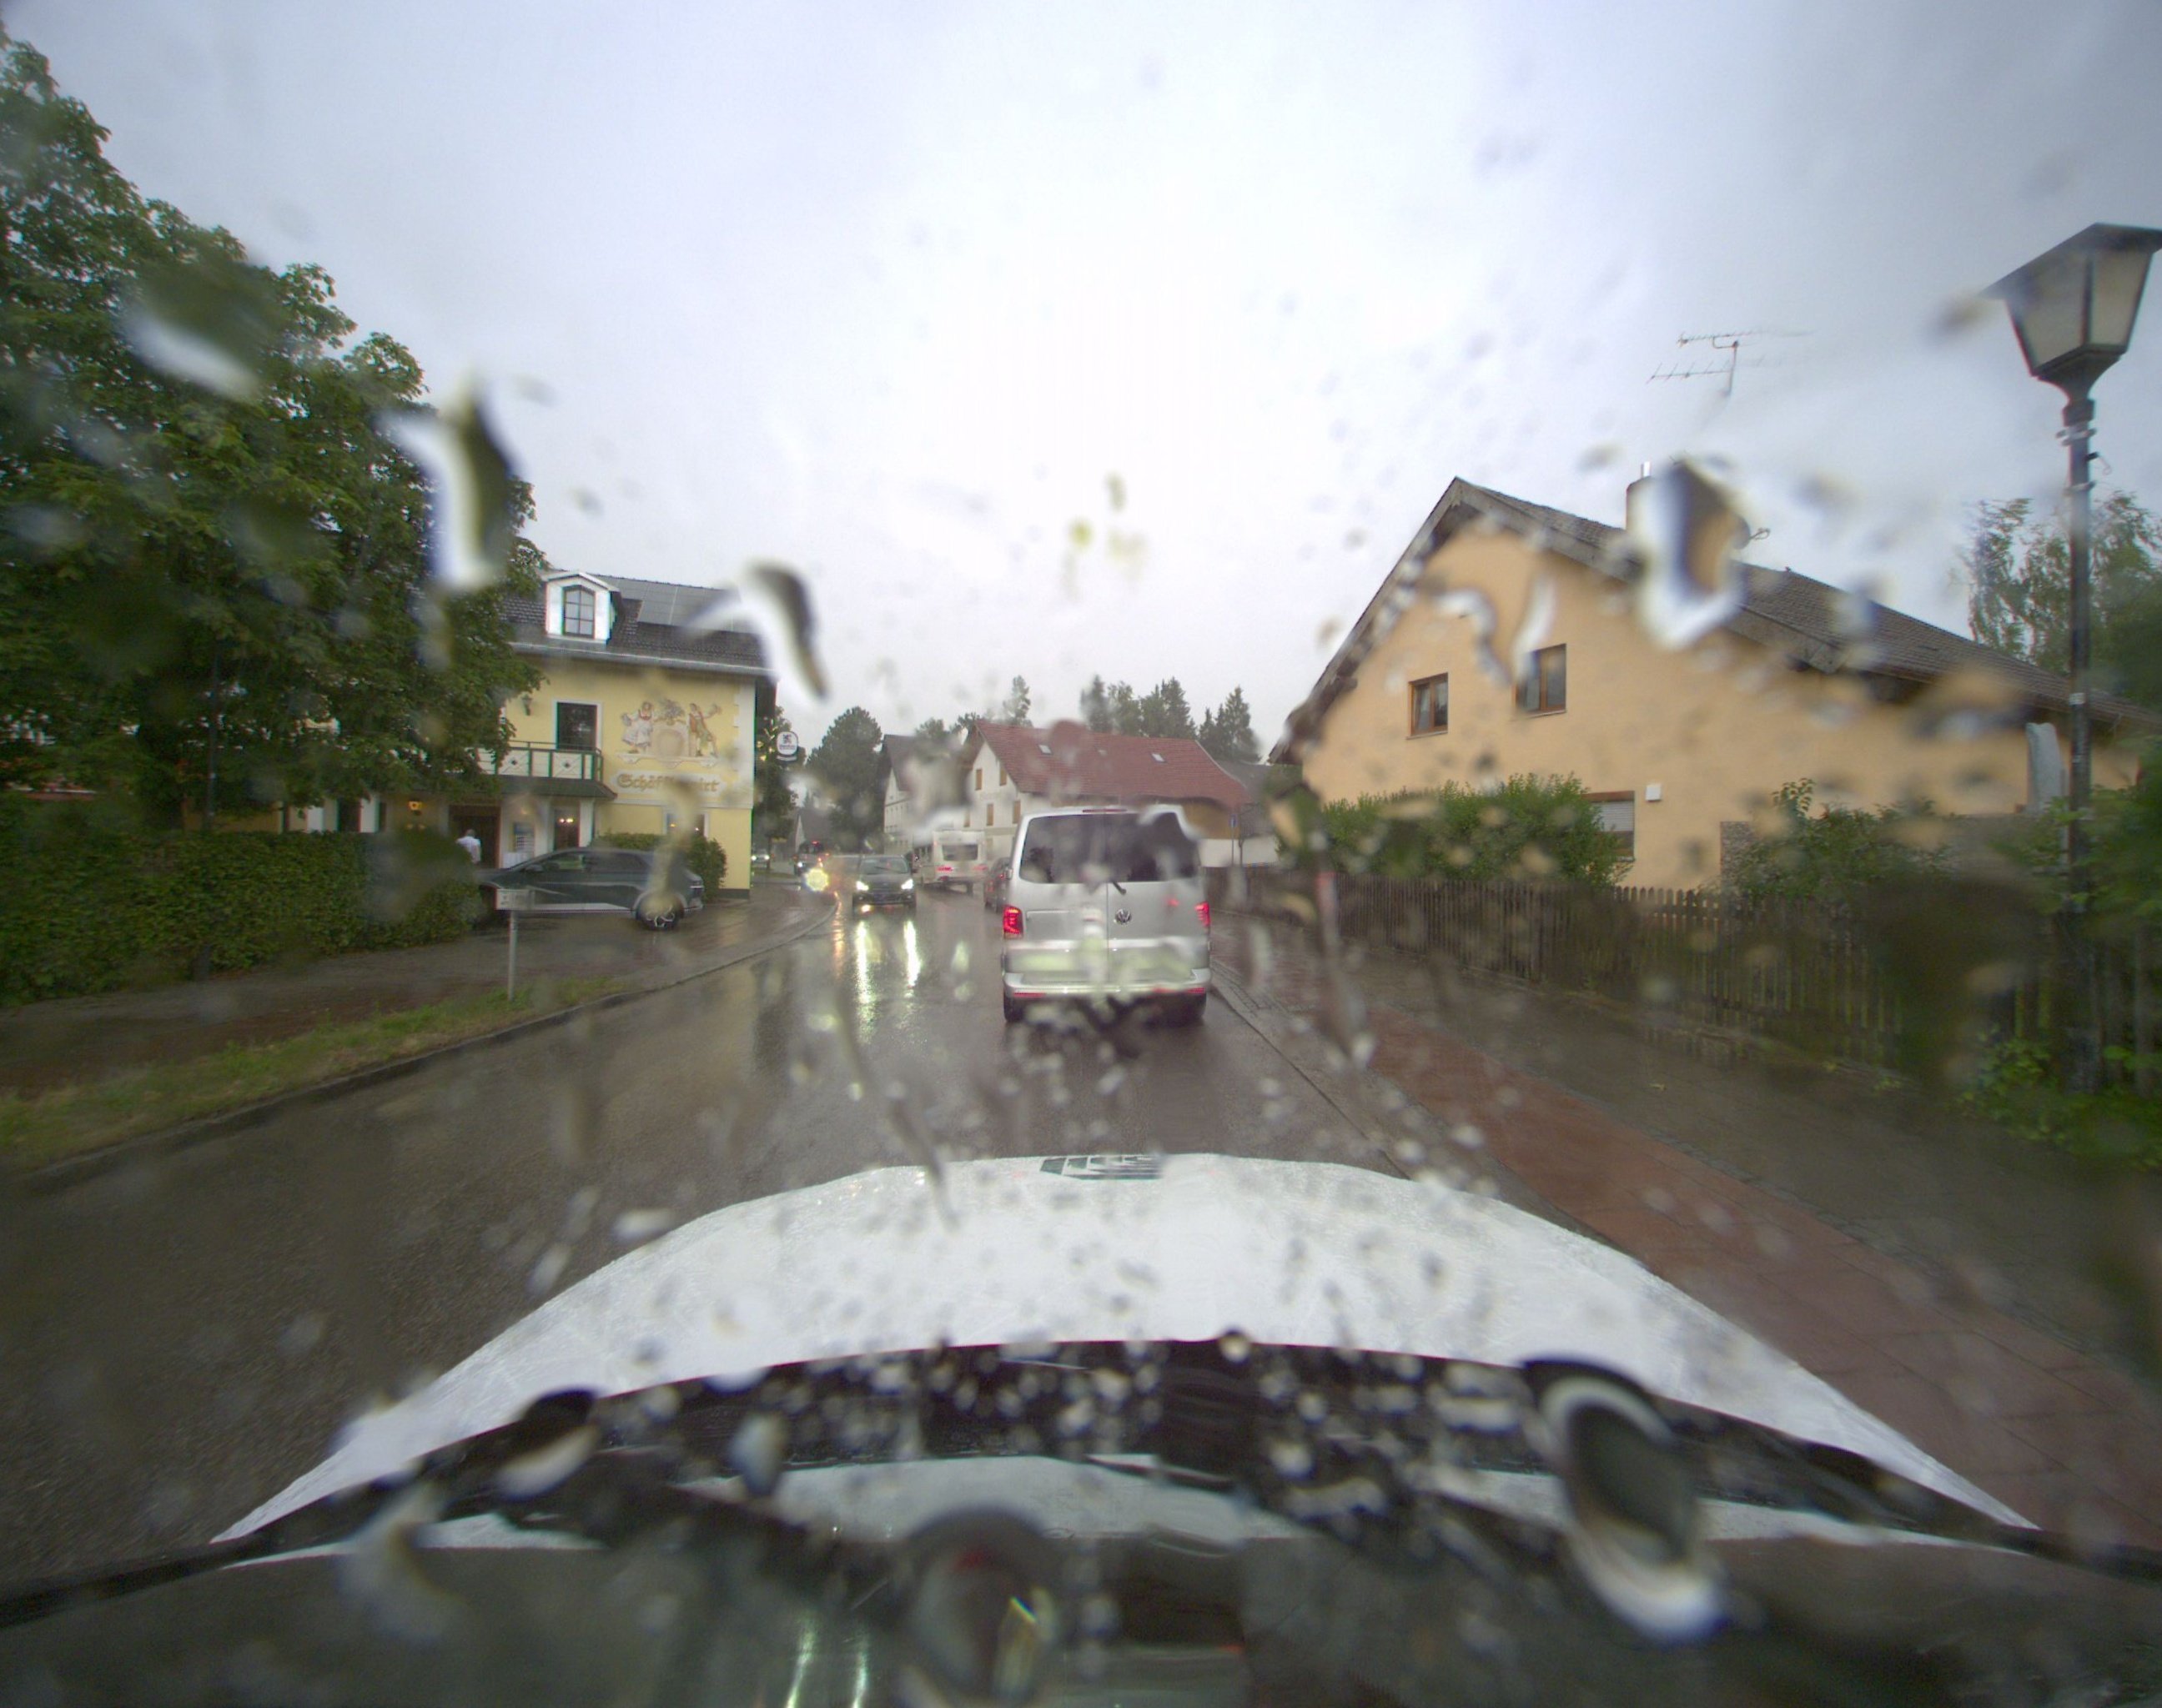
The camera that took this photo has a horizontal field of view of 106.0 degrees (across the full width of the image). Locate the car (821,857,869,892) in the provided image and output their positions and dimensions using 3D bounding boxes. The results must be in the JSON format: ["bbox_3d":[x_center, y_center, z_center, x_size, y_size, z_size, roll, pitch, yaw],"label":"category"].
[{"bbox_3d":[-12.367,1.045,42.590,1.762,1.677,3.966,-1,-1,-25],"label":"car"}]

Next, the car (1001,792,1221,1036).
[{"bbox_3d":[0.352,0.505,9.184,1.769,1.963,5.077,-1,0,2],"label":"car"}]

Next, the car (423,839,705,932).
[{"bbox_3d":[-10.117,0.651,16.400,4.498,1.567,1.824,4,0,-27],"label":"car"}]

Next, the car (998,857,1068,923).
[{"bbox_3d":[-1.490,0.937,23.629,1.707,1.584,4.674,-2,1,-7],"label":"car"}]

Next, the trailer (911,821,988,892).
[{"bbox_3d":[-6.044,0.122,36.664,2.279,2.904,6.089,0,0,-21],"label":"trailer"}]

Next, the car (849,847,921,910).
[{"bbox_3d":[-6.159,0.704,25.302,1.927,1.744,4.168,-1,0,-17],"label":"car"}]

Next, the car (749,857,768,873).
[{"bbox_3d":[-39.882,1.381,100.756,1.860,1.971,4.662,-1,-1,-25],"label":"car"}]

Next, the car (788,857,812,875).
[{"bbox_3d":[-33.727,1.423,97.624,2.179,1.899,4.974,1,0,-24],"label":"car"}]

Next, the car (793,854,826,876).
[{"bbox_3d":[-20.051,0.814,60.044,1.596,1.610,3.504,-1,-1,-30],"label":"car"}]

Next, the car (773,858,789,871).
[{"bbox_3d":[-49.976,1.724,135.701,2.179,1.899,4.974,1,0,-24],"label":"car"}]

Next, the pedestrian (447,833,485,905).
[{"bbox_3d":[-14.803,0.352,19.610,0.492,1.690,0.550,4,-1,-21],"label":"pedestrian"}]

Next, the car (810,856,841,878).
[{"bbox_3d":[-24.374,1.224,77.588,2.179,1.899,4.974,1,0,-24],"label":"car"}]
